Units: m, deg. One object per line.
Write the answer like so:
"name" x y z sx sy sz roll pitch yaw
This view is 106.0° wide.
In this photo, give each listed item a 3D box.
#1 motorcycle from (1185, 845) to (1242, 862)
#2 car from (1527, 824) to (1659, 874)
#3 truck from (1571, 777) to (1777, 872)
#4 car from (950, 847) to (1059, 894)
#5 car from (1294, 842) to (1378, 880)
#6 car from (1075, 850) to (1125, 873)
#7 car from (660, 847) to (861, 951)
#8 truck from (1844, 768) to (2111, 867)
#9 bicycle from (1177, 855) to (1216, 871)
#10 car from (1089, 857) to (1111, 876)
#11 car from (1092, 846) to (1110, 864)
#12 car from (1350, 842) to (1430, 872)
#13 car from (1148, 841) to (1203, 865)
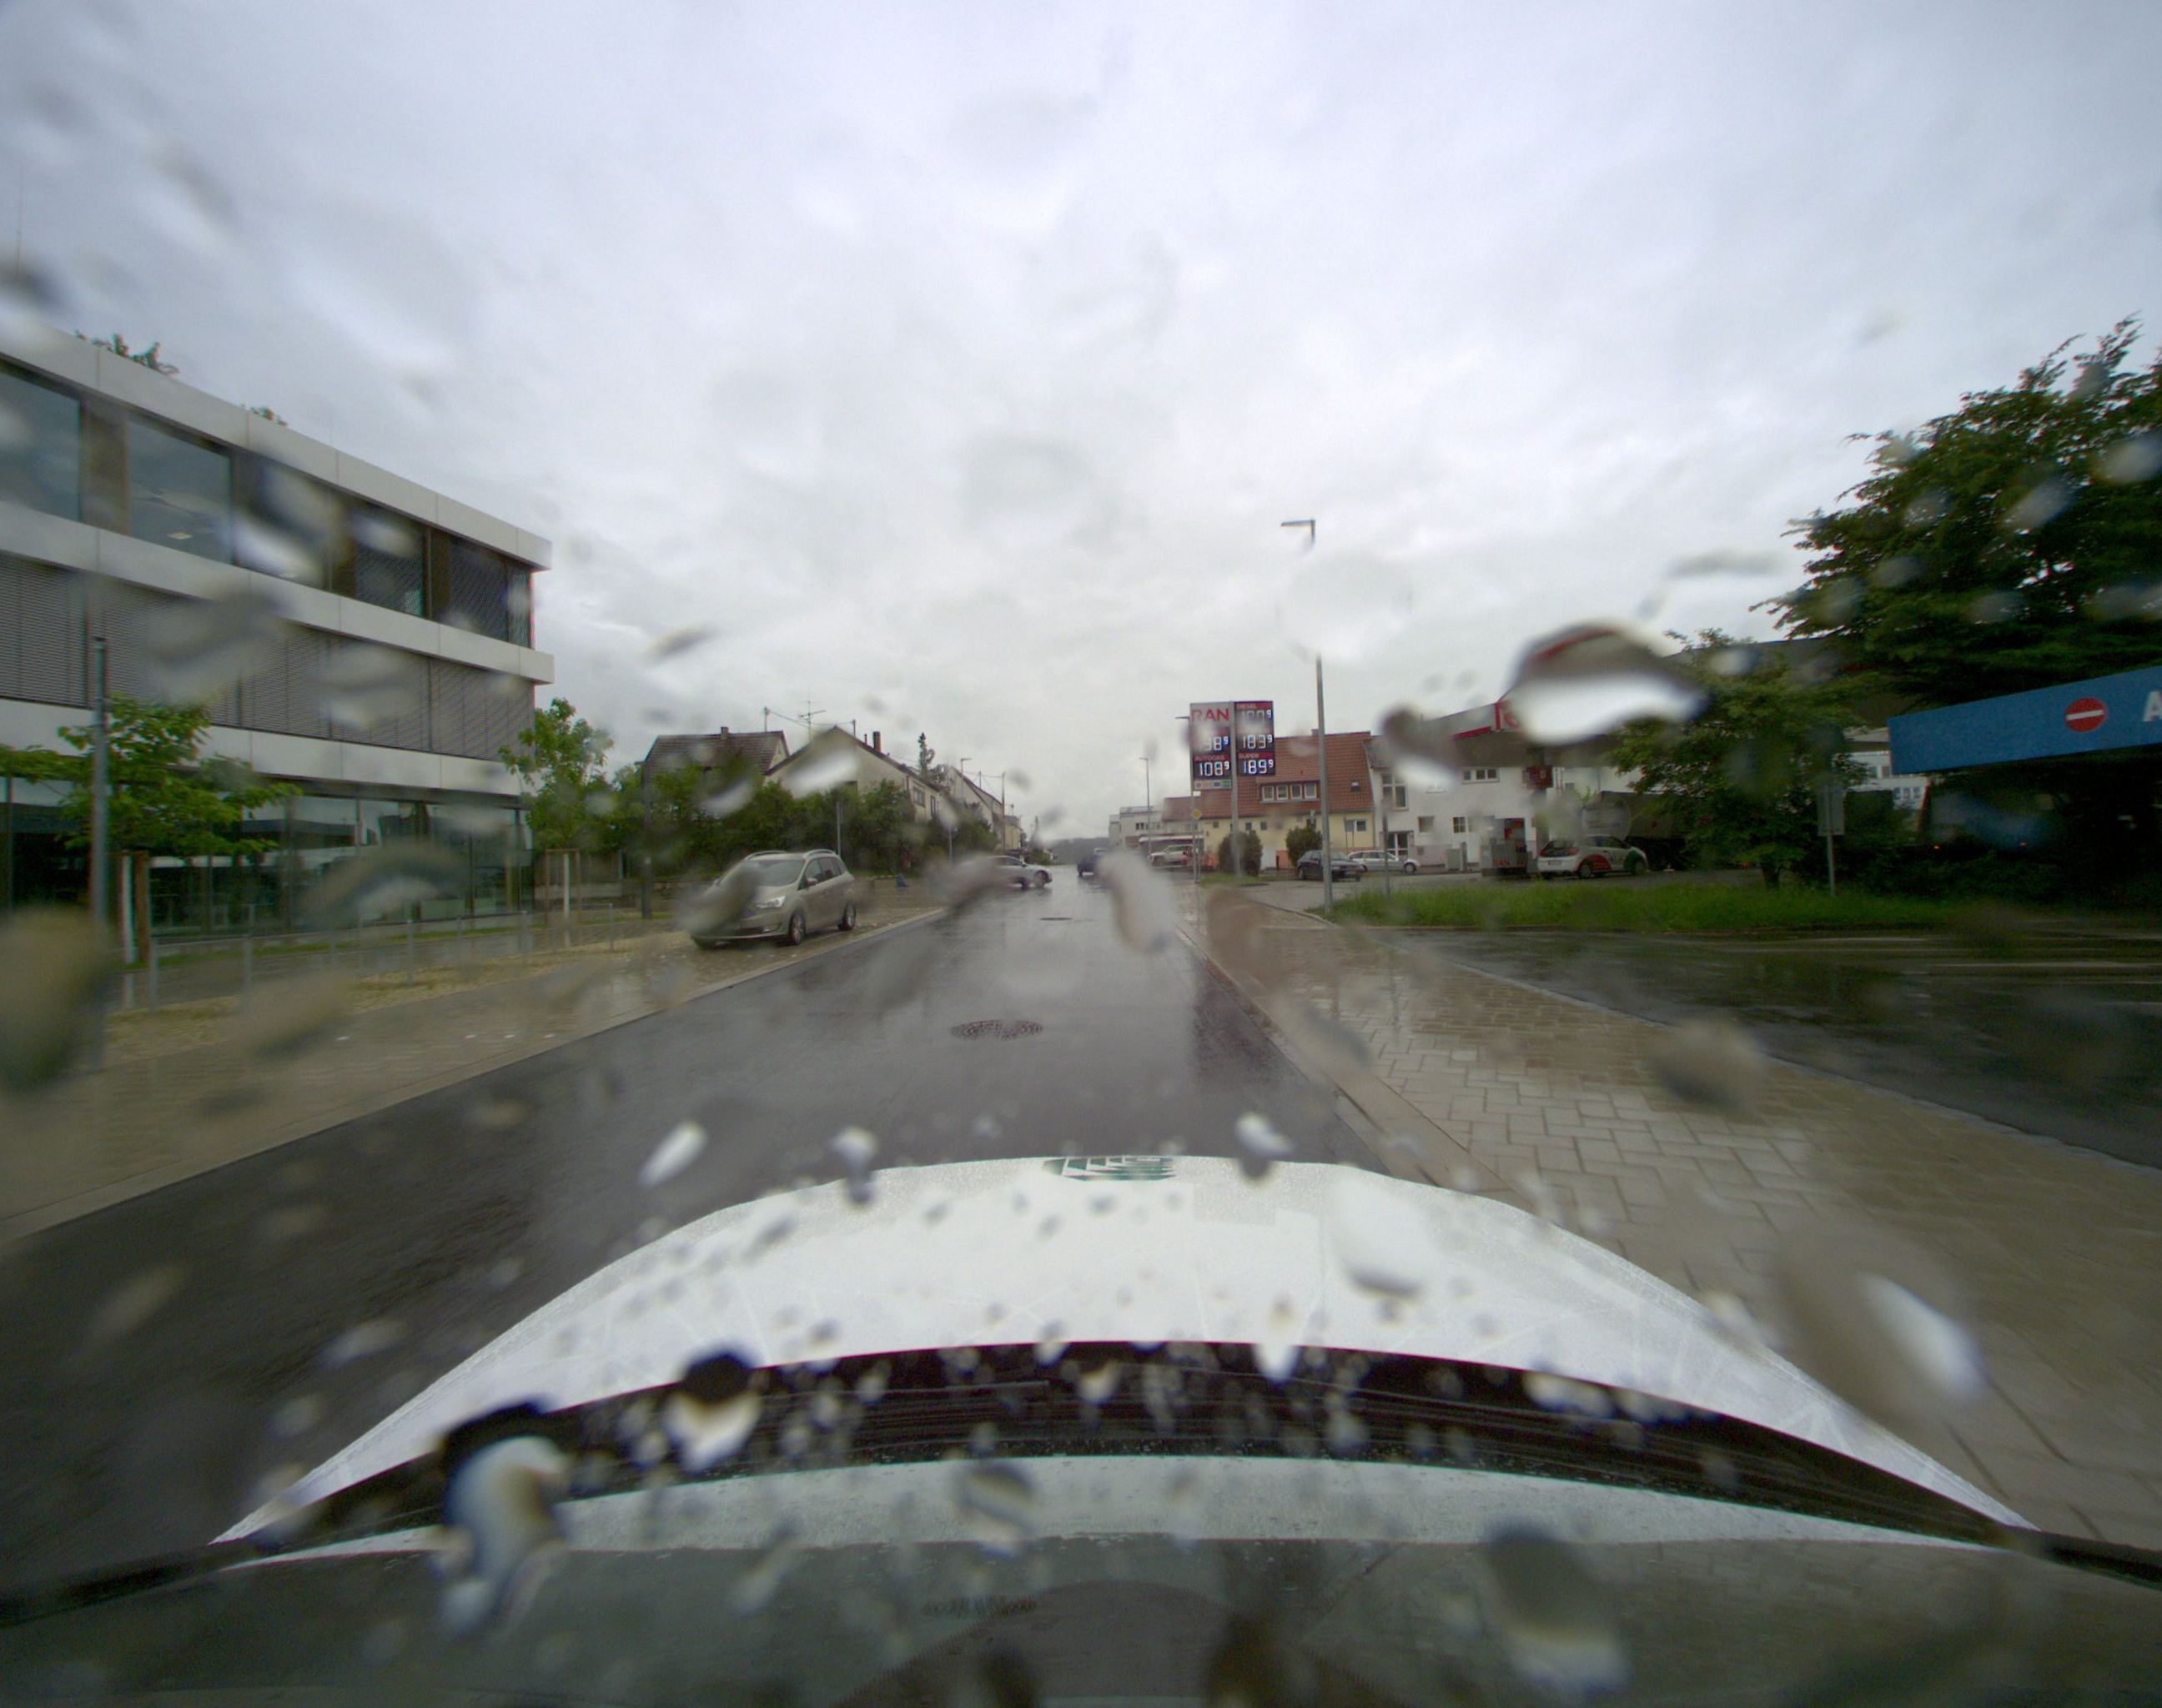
"motorcycle" 9.744 -0.050 60.111 3.949 1.153 1.100 1 -3 28
"car" 17.077 -0.124 27.190 3.526 1.556 1.942 0 -2 -19
"truck" 24.812 -1.093 34.155 7.730 3.445 2.667 2 -2 -14
"car" -3.660 0.832 39.221 4.778 2.014 1.982 3 -3 -27
"car" 11.362 0.348 36.612 1.993 1.552 3.986 2 -2 -10
"car" 1.298 0.534 57.800 1.862 1.493 3.963 3 -2 -28
"car" -5.795 0.738 15.358 1.986 1.629 4.154 -2 0 2
"truck" 21.403 -0.766 19.741 1.990 2.014 3.993 2 -2 -4
"bicycle" 8.221 0.649 58.010 0.672 1.067 3.594 3 -2 -29
"car" 1.900 1.234 80.538 1.986 1.706 4.001 2 -2 2
"car" 2.176 0.103 87.315 1.776 1.706 4.001 2 -2 2
"car" 17.631 0.170 46.668 3.962 1.556 1.959 2 -2 10
"car" 7.486 -0.073 64.667 4.101 1.706 1.787 2 -2 -2
